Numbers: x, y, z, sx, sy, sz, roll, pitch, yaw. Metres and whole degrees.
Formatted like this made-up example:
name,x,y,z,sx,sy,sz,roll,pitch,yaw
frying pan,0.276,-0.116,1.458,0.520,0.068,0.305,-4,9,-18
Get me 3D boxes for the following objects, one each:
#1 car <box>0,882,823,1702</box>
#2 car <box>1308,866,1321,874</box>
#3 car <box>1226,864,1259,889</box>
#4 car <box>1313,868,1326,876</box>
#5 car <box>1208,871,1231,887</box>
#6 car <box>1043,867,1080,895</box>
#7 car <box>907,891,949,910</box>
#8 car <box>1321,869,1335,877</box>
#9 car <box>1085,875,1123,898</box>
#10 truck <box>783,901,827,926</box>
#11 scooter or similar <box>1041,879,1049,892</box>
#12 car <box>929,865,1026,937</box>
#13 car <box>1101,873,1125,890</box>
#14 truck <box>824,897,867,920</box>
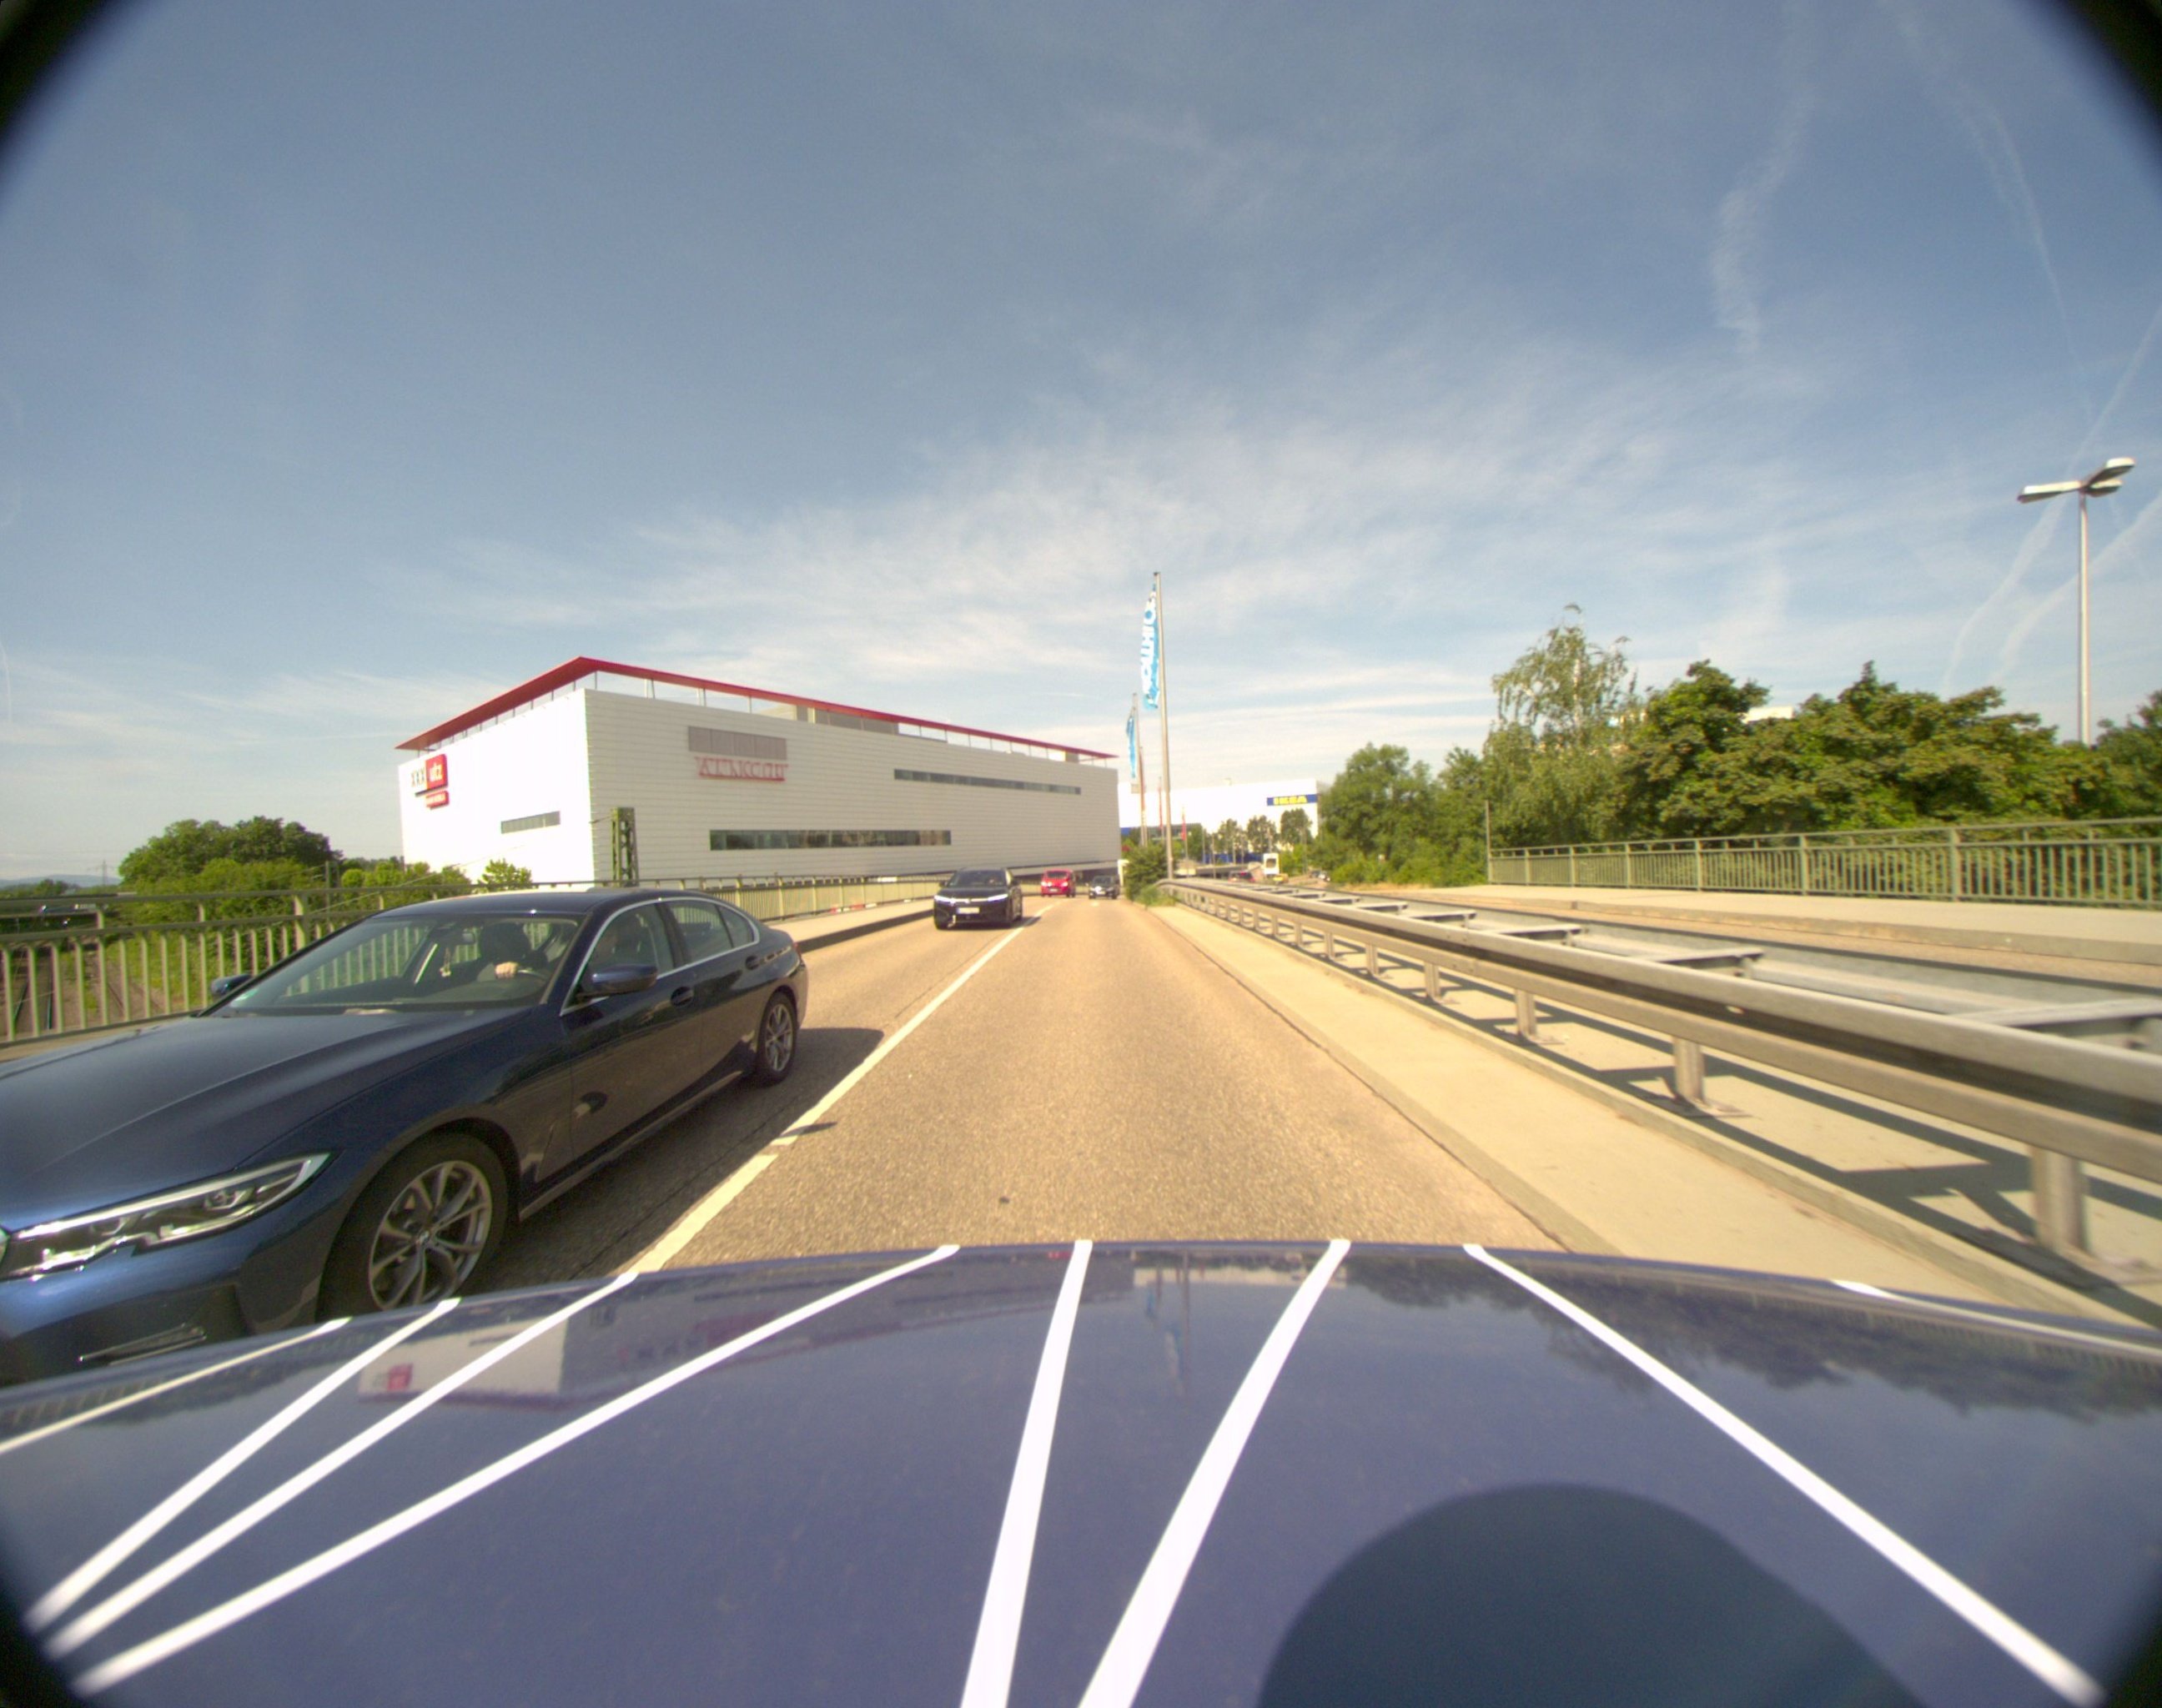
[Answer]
name,x,y,z,sx,sy,sz,roll,pitch,yaw
car,-3.029,1.028,3.823,1.792,1.475,4.519,-3,1,1
car,53.399,3.633,173.679,1.822,1.466,4.007,-1,1,33
car,10.965,1.555,51.671,1.885,1.625,4.229,-2,-3,8
car,52.648,3.906,167.585,1.822,1.466,4.007,-1,1,31
car,13.458,2.437,74.119,1.801,1.541,4.002,0,-1,4
car,-1.344,1.942,53.743,1.987,1.895,4.148,0,-2,8
car,-22.003,6.704,109.300,5.996,2.605,2.136,-3,1,31
car,49.209,3.789,151.445,1.860,1.520,4.146,-1,1,9
car,1.518,2.082,48.404,1.848,1.409,4.005,0,-3,9
truck,-35.524,7.600,97.710,5.996,2.910,2.136,-3,1,34
scooter or similar,-3.382,2.940,70.709,0.512,1.135,1.483,-2,-2,5
car,-2.578,1.136,19.938,1.861,1.520,4.144,-3,0,0
car,3.223,2.778,75.309,1.776,1.648,4.150,-1,-3,11
truck,-32.111,7.424,103.544,5.996,2.910,2.136,-3,1,34
